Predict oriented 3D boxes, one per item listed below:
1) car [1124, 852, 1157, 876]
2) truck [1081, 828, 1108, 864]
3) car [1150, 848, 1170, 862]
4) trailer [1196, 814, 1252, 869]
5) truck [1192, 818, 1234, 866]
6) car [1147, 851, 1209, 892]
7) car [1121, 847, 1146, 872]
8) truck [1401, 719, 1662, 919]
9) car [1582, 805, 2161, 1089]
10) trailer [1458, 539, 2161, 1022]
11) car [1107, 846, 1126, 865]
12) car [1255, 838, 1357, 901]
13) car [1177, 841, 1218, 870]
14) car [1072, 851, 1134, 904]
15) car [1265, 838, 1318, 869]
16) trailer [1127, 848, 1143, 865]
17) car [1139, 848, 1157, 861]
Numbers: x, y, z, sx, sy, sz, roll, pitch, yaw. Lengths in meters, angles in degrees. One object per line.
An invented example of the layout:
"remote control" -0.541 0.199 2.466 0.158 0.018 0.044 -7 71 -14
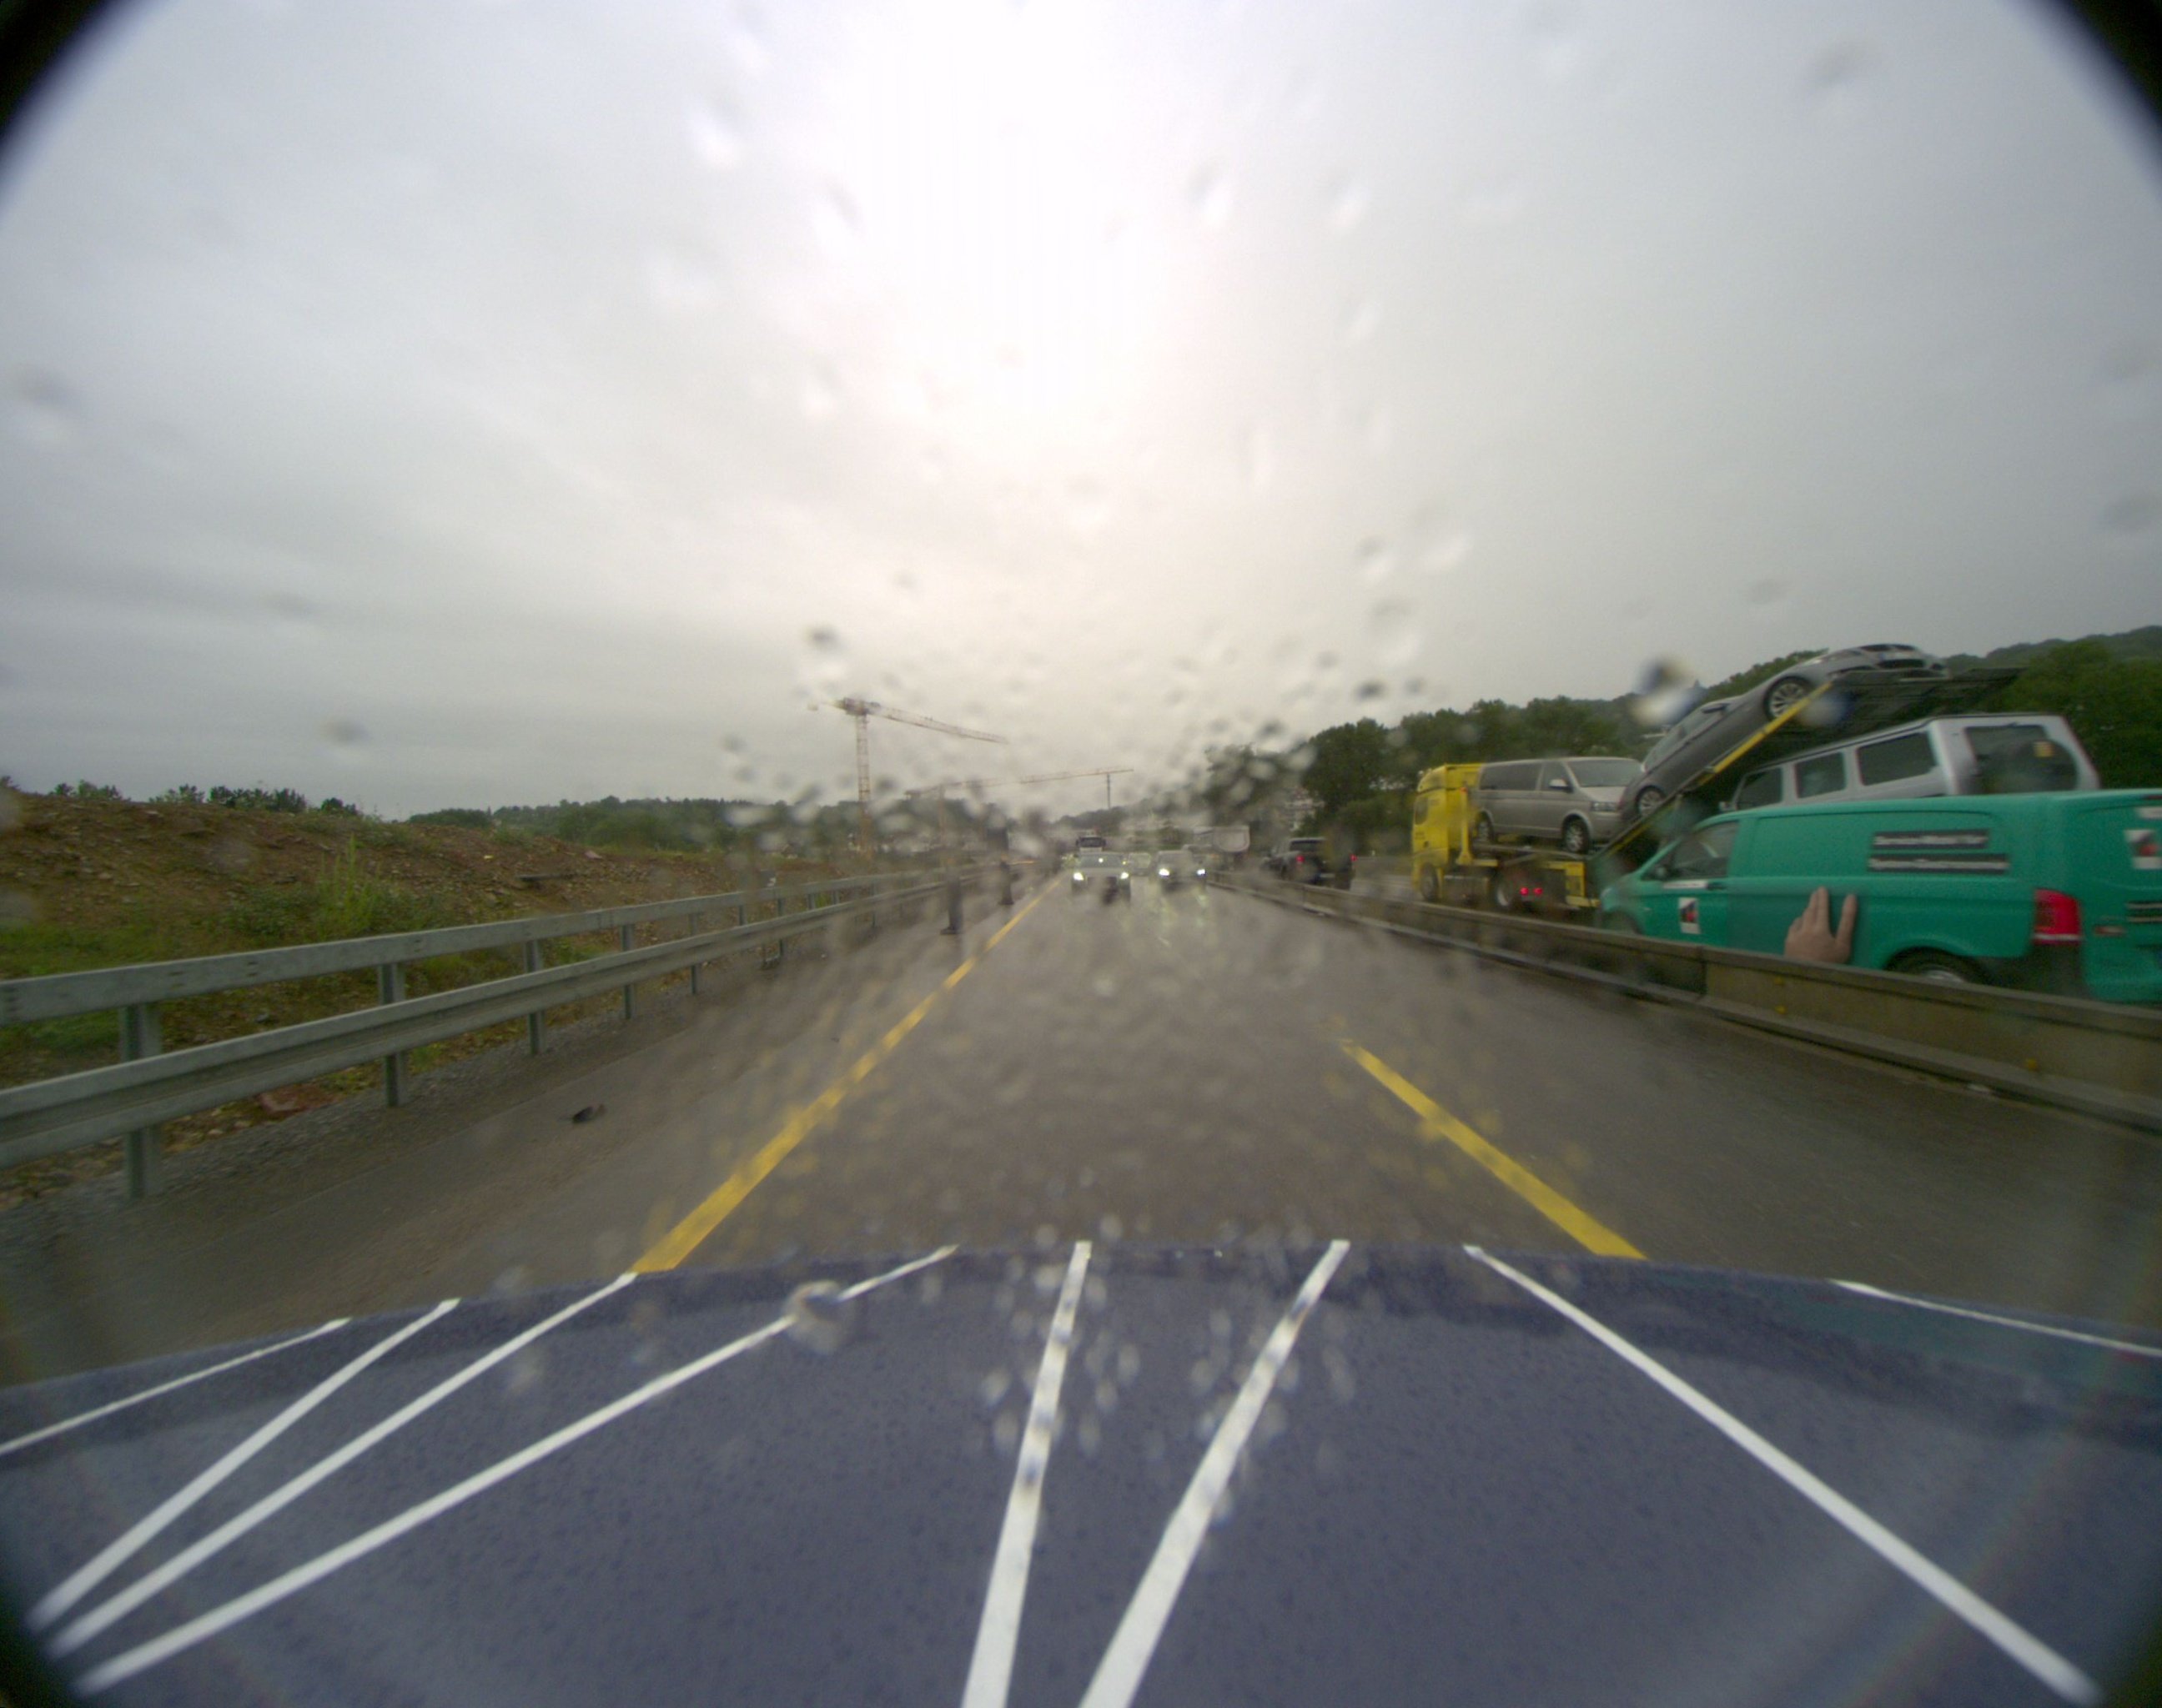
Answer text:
"car" 3.725 0.594 47.961 1.781 1.430 4.483 -1 0 1
"truck" 1.409 -0.812 78.457 2.575 3.450 6.626 -1 0 1
"car" 8.342 0.080 80.360 1.713 1.445 4.000 -1 0 1
"trailer" 11.082 -0.944 59.775 2.692 3.940 9.818 0 0 1
"truck" 11.128 -0.959 64.551 2.692 3.904 5.273 0 1 1
"car" 3.717 0.630 29.813 1.951 1.430 4.483 -1 0 1
"car" 4.500 0.467 64.485 1.998 2.002 4.002 -1 0 5
"truck" 10.548 -0.730 18.668 2.756 4.038 6.147 -1 1 1
"car" 7.185 0.559 7.052 1.998 1.749 4.687 -1 0 1
"trailer" 10.435 -0.666 10.711 2.756 4.019 15.358 -1 0 1
"car" 4.174 0.192 88.839 1.998 2.001 4.188 -2 -2 0
"car" 7.004 0.430 24.257 1.791 1.795 5.189 0 1 1
"car" 7.655 0.094 50.321 1.879 1.782 5.359 -1 1 0
"car" 0.702 0.689 24.327 1.781 1.514 4.140 -1 0 1
"car" 14.691 -0.069 53.332 2.270 2.002 5.045 -1 0 0
"trailer" 13.094 0.588 185.157 3.285 3.885 13.700 -1 -1 1
"car" 8.879 0.057 101.088 1.998 1.646 4.469 0 0 1
